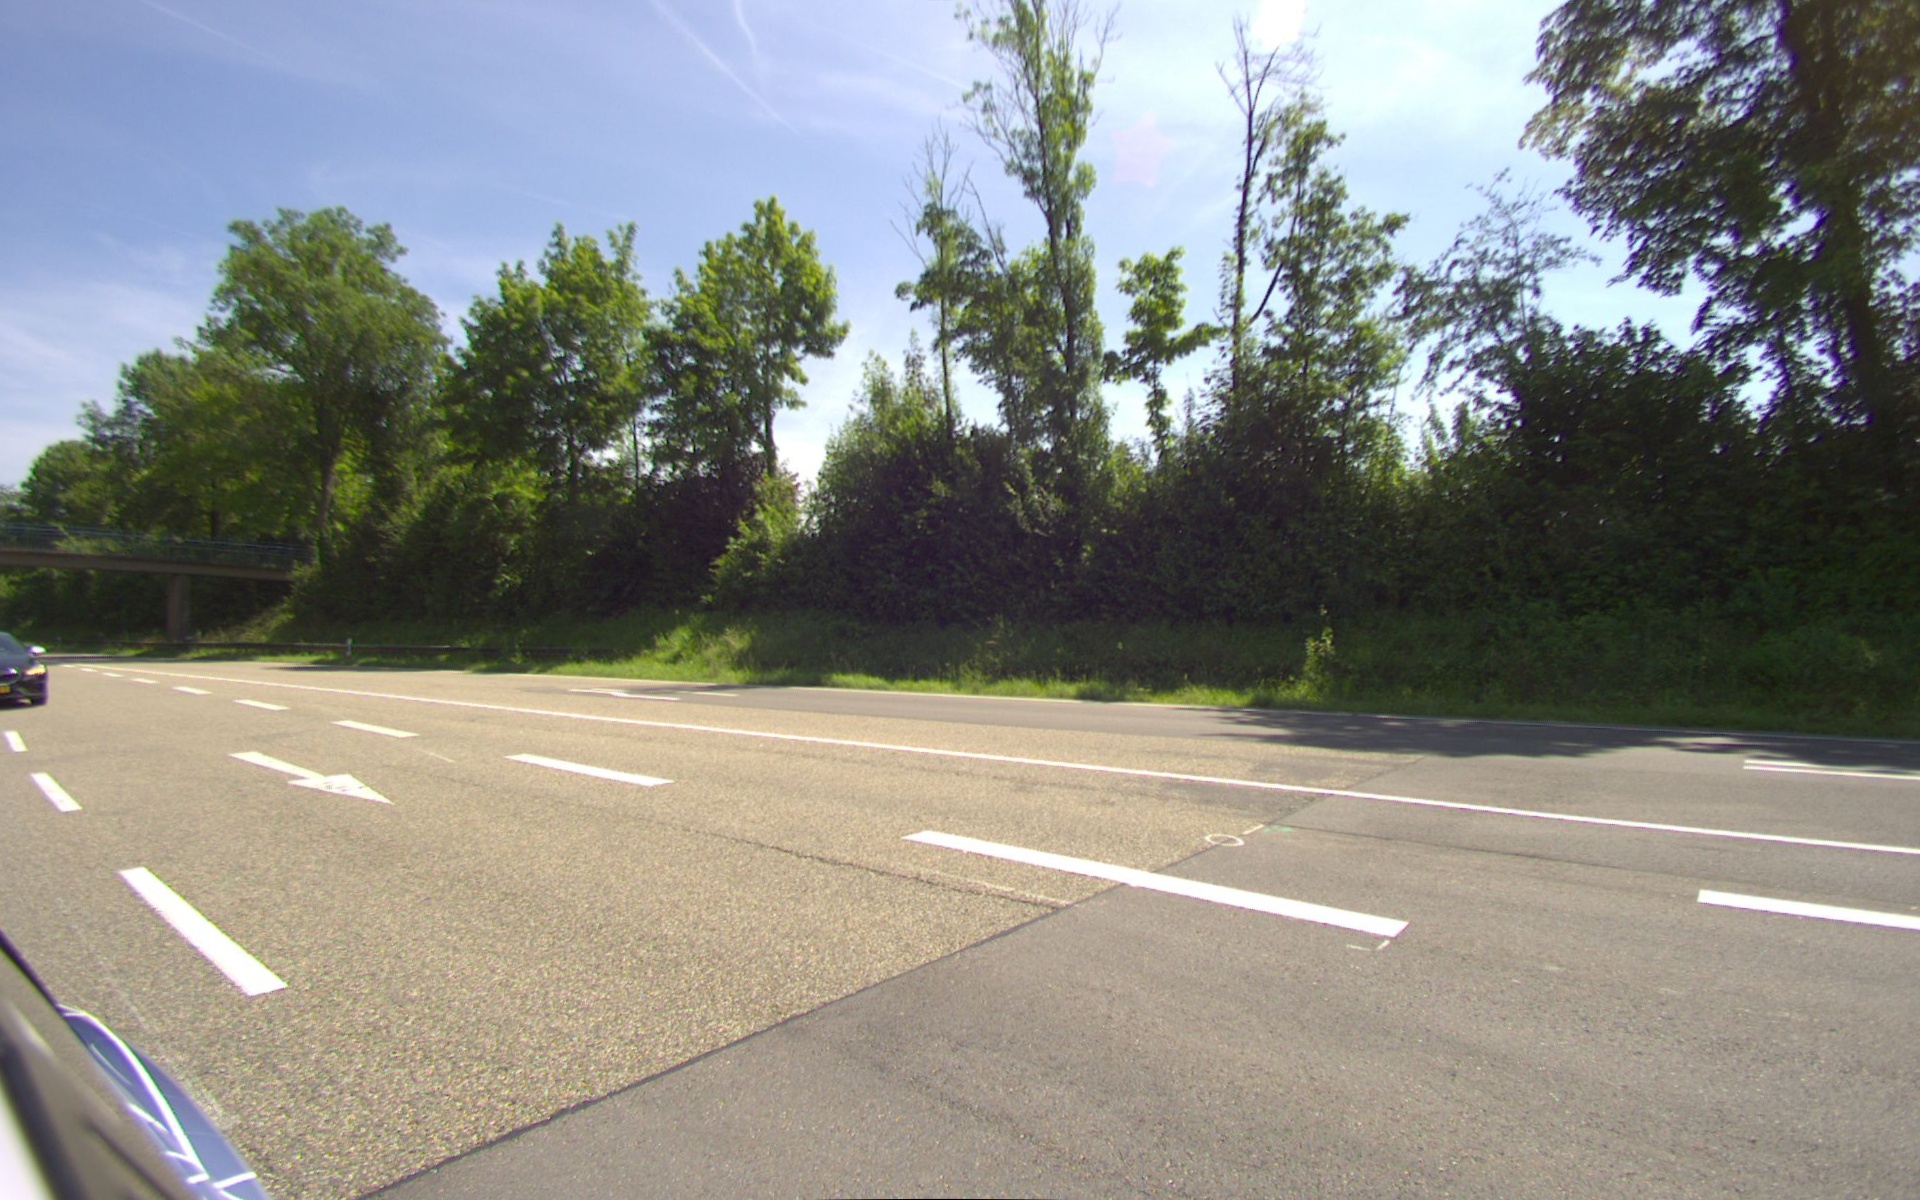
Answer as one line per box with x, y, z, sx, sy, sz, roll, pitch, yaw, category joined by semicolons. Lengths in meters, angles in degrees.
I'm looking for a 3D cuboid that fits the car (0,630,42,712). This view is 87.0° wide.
-18.667;1.294;19.044;4.402;1.409;1.668;-1;-1;42;car
